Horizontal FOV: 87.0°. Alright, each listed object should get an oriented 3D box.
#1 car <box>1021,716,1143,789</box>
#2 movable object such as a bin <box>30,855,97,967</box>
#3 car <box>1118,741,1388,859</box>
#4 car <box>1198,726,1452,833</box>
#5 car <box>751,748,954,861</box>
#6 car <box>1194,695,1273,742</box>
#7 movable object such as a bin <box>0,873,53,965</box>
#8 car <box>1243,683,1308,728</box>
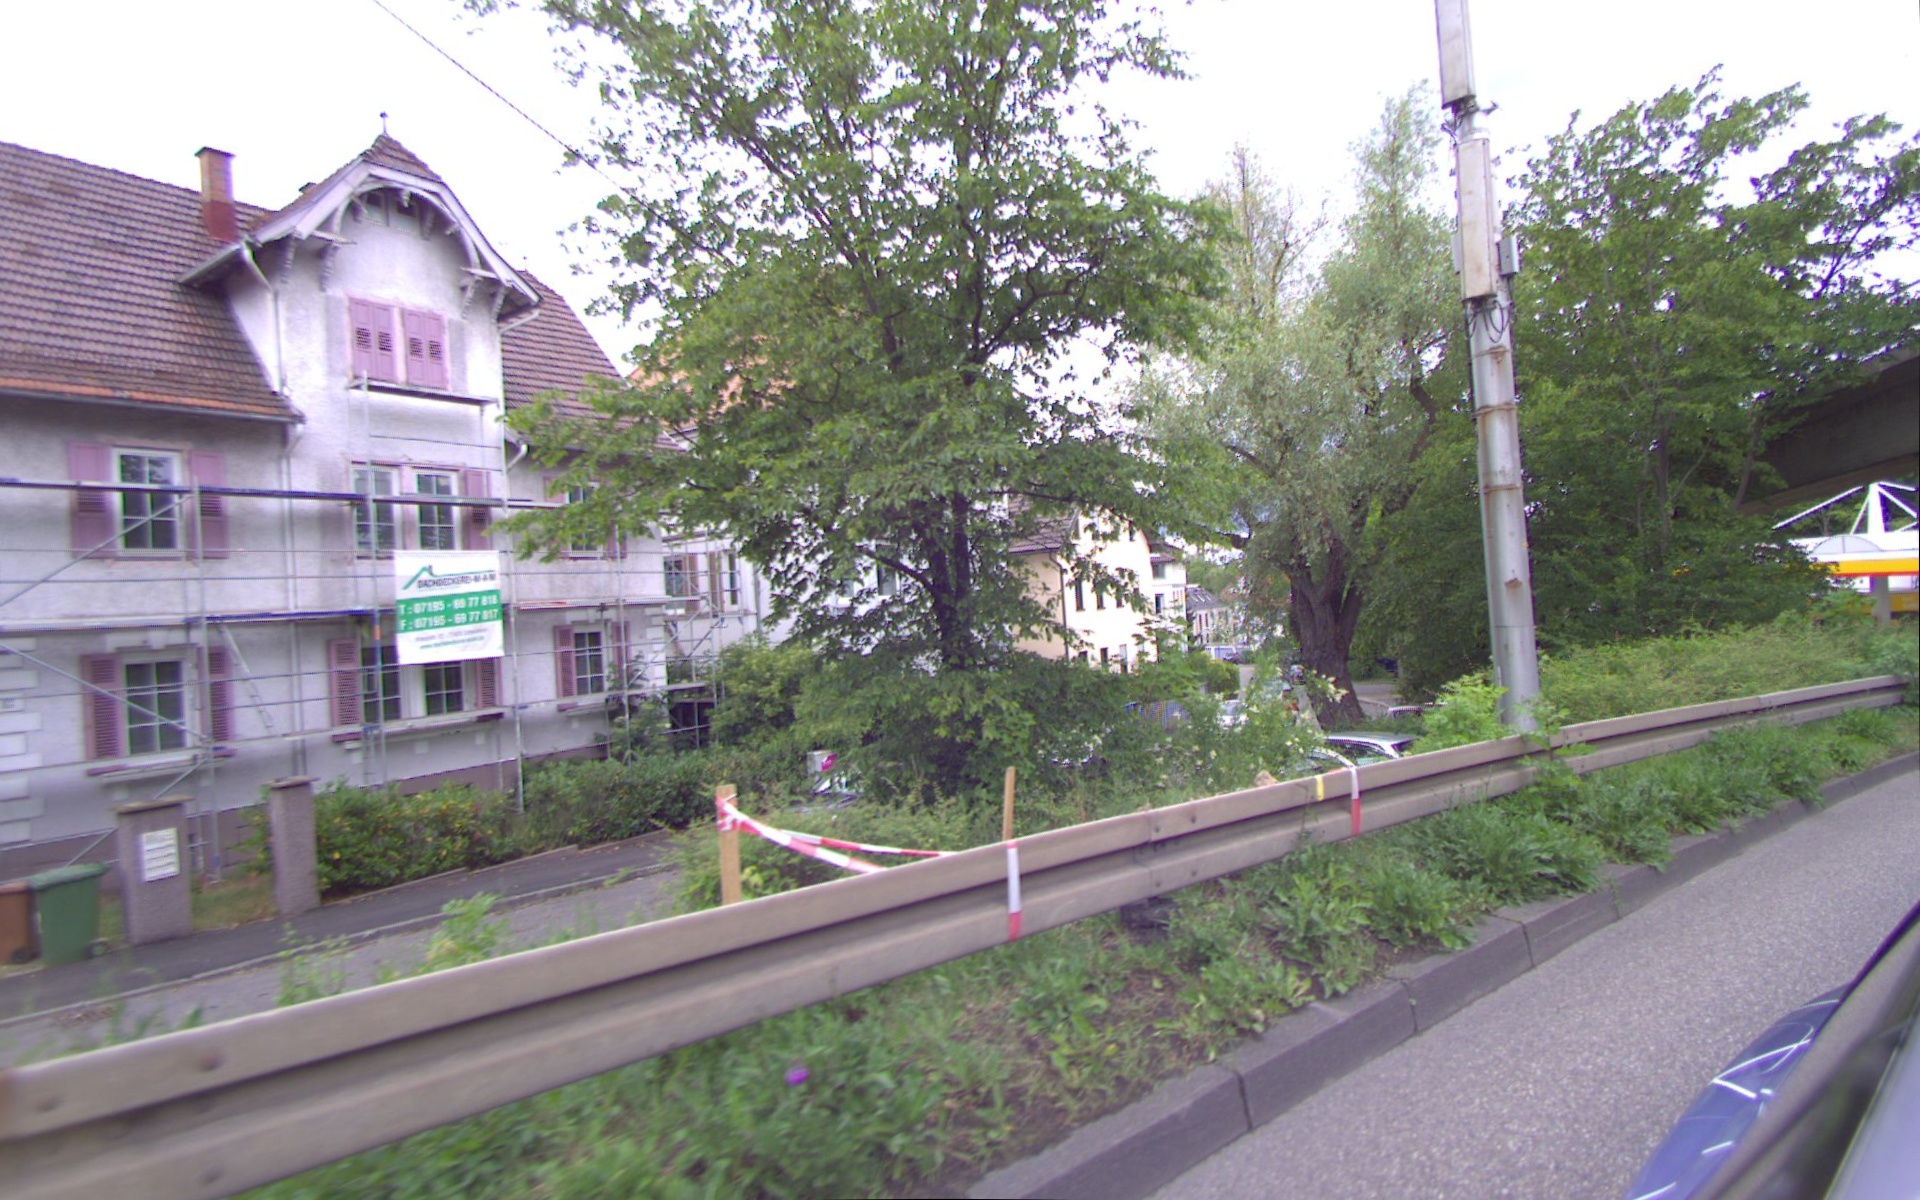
[{"bbox_3d":[3.303,3.968,26.829,1.612,1.467,3.981,-4,-4,32],"label":"car"},{"bbox_3d":[-10.662,3.675,12.036,0.578,1.093,0.530,-1,-1,41],"label":"movable object such as a bin"},{"bbox_3d":[4.690,3.175,16.705,1.595,1.388,4.051,0,-4,-39],"label":"car"},{"bbox_3d":[6.474,3.143,18.344,1.595,1.467,4.051,0,-4,-39],"label":"car"},{"bbox_3d":[-1.925,3.759,19.236,1.613,1.467,4.006,-5,-4,34],"label":"car"},{"bbox_3d":[9.930,4.249,36.573,1.638,1.413,3.725,-4,-4,32],"label":"car"},{"bbox_3d":[-11.313,3.826,12.154,0.536,0.894,0.572,-1,-1,41],"label":"movable object such as a bin"},{"bbox_3d":[12.955,4.276,41.445,1.610,1.541,4.257,-4,-4,30],"label":"car"}]
